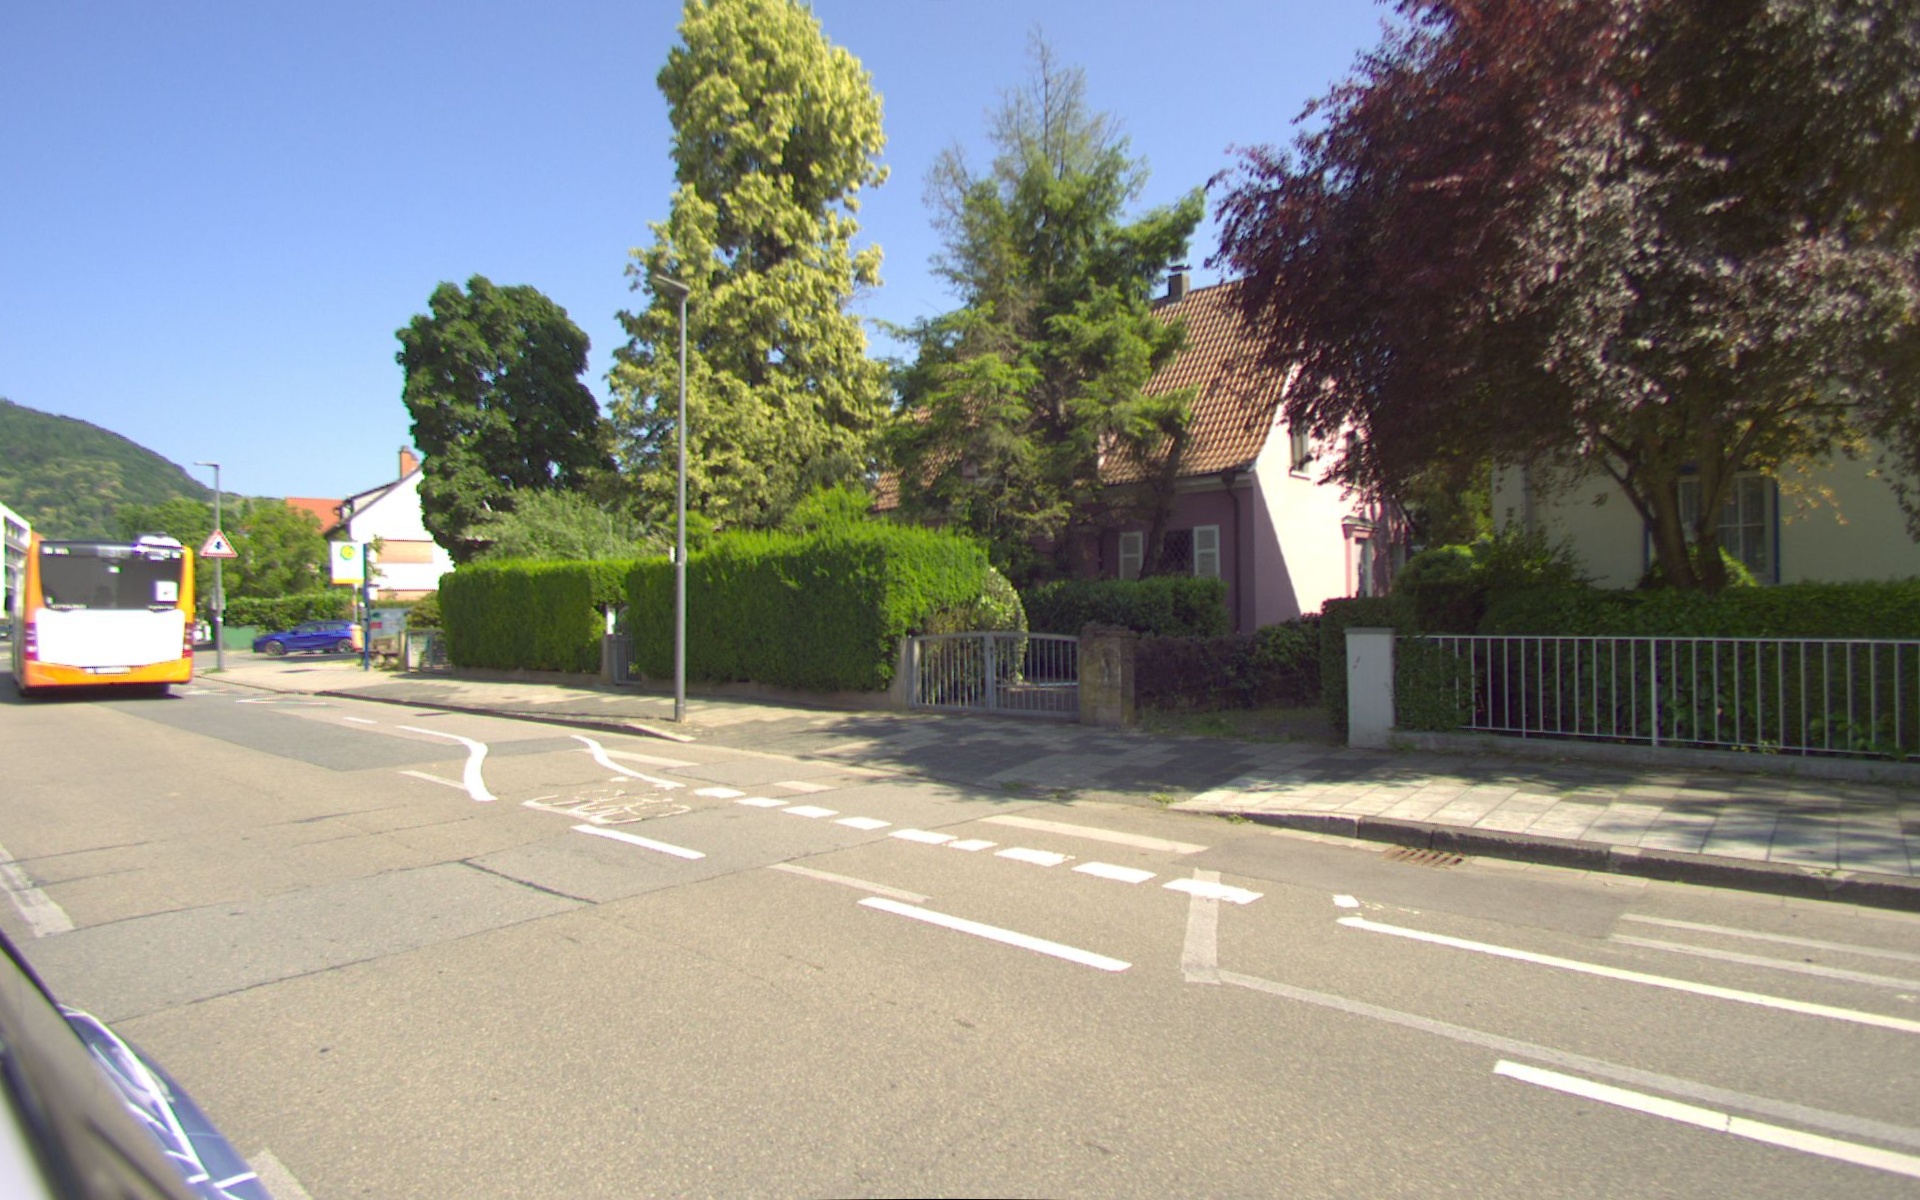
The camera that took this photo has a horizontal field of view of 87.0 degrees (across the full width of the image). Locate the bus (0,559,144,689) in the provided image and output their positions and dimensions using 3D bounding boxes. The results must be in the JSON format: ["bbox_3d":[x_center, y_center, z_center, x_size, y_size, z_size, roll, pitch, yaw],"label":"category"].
[{"bbox_3d":[-26.013,0.746,29.405,2.713,3.198,9.786,2,-3,-44],"label":"bus"}]

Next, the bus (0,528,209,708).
[{"bbox_3d":[-19.203,0.479,22.385,2.714,3.198,9.783,2,-3,-45],"label":"bus"}]
